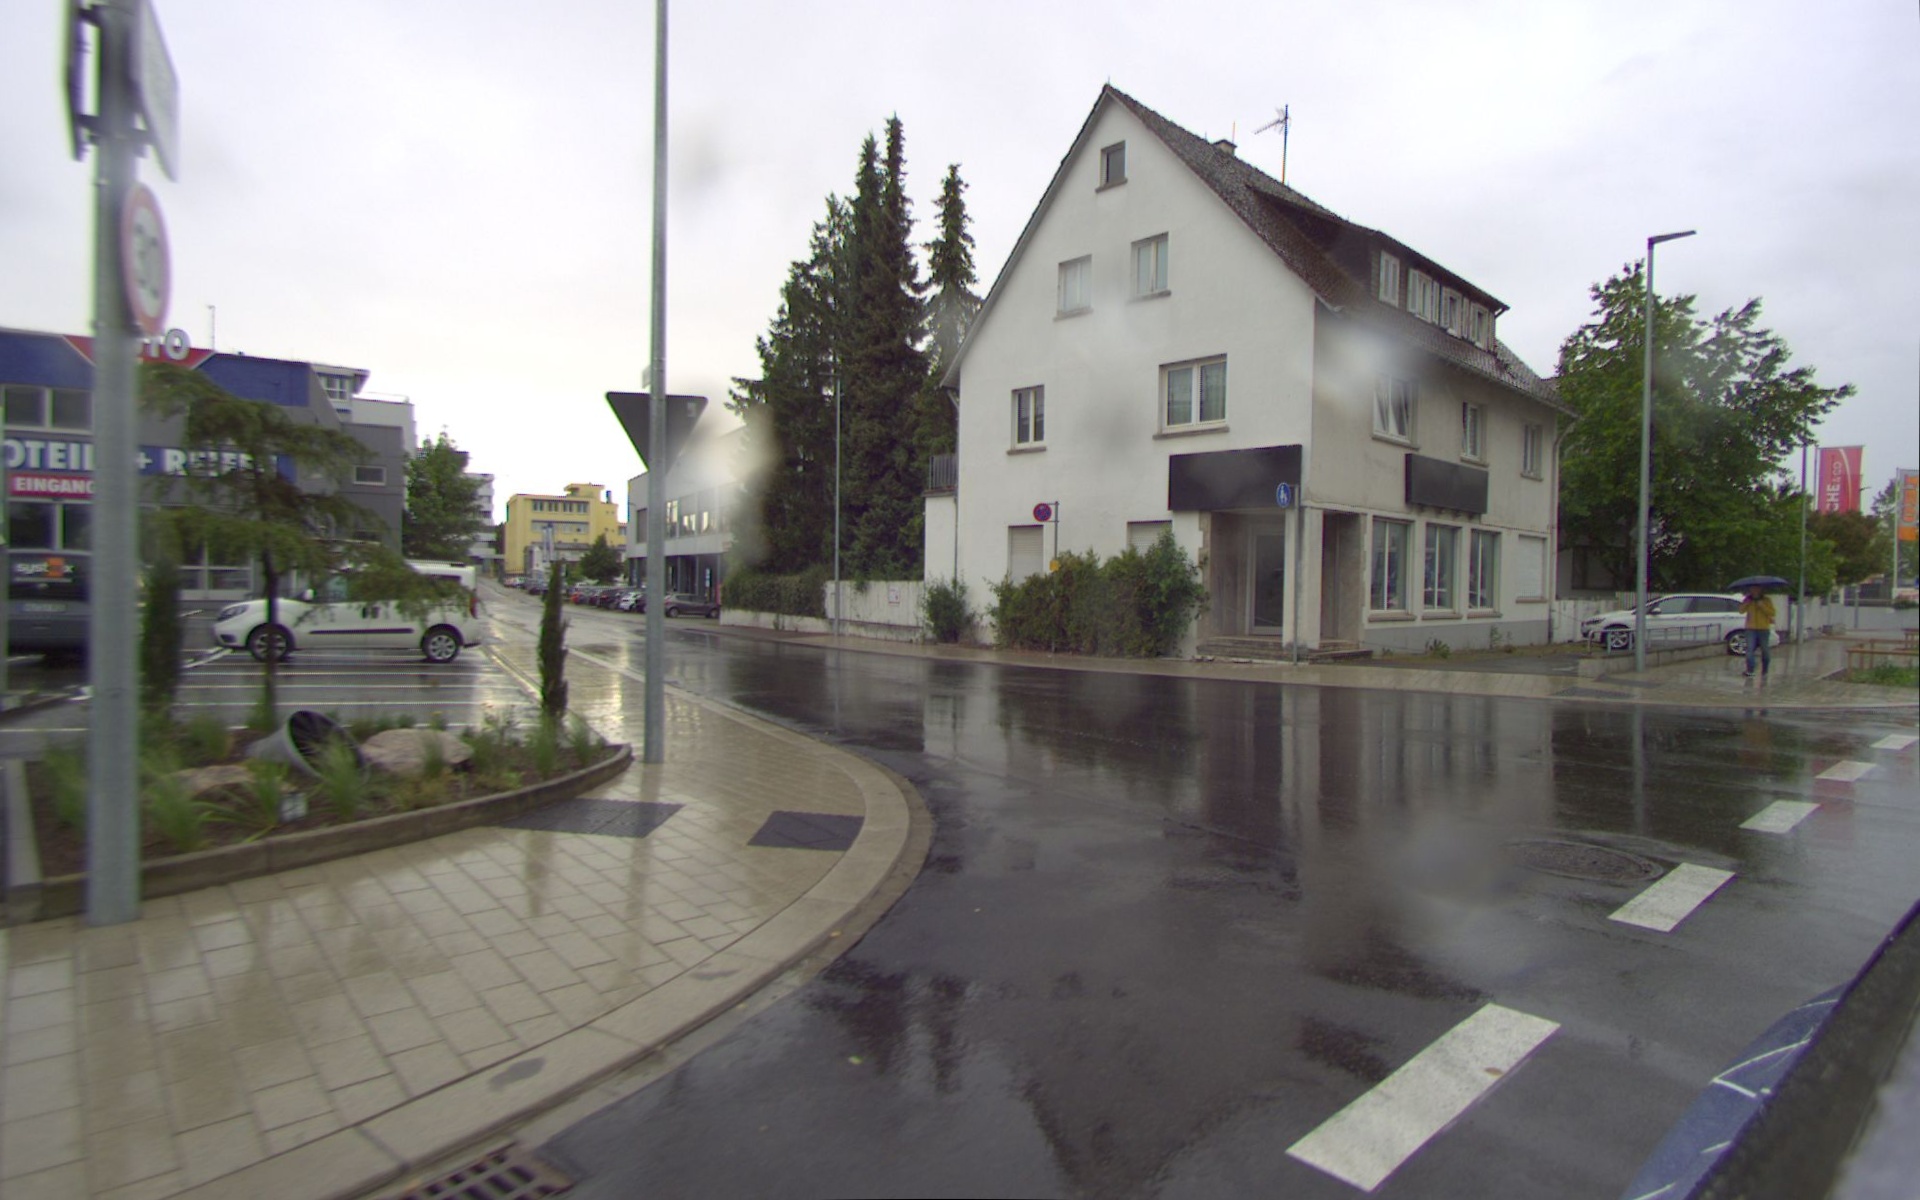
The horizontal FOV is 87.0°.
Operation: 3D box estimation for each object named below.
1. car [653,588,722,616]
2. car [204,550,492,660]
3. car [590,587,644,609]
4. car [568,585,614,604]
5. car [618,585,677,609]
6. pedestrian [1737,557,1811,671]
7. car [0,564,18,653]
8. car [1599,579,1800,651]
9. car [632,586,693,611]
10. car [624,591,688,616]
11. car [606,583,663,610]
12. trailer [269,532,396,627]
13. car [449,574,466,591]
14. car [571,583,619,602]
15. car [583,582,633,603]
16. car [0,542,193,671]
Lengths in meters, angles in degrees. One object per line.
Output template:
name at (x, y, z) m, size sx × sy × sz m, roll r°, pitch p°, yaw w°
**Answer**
car at (-16.328, 0.116, 60.594) m, size 3.689 × 1.466 × 1.614 m, roll -2°, pitch -1°, yaw -27°
car at (-11.349, 0.059, 19.006) m, size 4.402 × 1.851 × 1.895 m, roll 0°, pitch 2°, yaw -33°
car at (-26.170, -0.176, 77.263) m, size 3.689 × 1.466 × 1.614 m, roll -2°, pitch -1°, yaw -27°
car at (-33.437, -0.498, 91.732) m, size 3.689 × 1.466 × 1.614 m, roll -2°, pitch -1°, yaw -27°
car at (-21.923, -0.219, 70.934) m, size 3.689 × 1.466 × 1.614 m, roll -2°, pitch -1°, yaw -27°
pedestrian at (15.363, 0.243, 19.103) m, size 1.175 × 2.038 × 0.860 m, roll 0°, pitch 3°, yaw -44°
car at (-16.697, 0.190, 15.820) m, size 1.827 × 1.515 × 4.148 m, roll 1°, pitch 2°, yaw -27°
car at (19.402, 0.332, 26.797) m, size 4.115 × 1.600 × 1.976 m, roll 4°, pitch 2°, yaw 34°
car at (-20.133, -0.118, 68.585) m, size 3.689 × 1.466 × 1.614 m, roll -2°, pitch -1°, yaw -27°
car at (-19.583, 0.222, 65.291) m, size 3.689 × 1.466 × 1.614 m, roll -2°, pitch -1°, yaw -27°
car at (-23.370, -0.240, 72.672) m, size 3.689 × 1.775 × 1.614 m, roll -2°, pitch -1°, yaw -27°
trailer at (-20.680, -0.596, 33.697) m, size 2.875 × 2.770 × 5.897 m, roll -2°, pitch -1°, yaw -25°
car at (-69.643, -2.435, 140.259) m, size 1.960 × 2.039 × 4.004 m, roll -2°, pitch -1°, yaw -28°
car at (-31.375, -0.665, 87.018) m, size 3.689 × 1.466 × 1.614 m, roll -2°, pitch -1°, yaw -27°
car at (-28.864, -0.611, 82.946) m, size 3.689 × 1.466 × 1.614 m, roll -2°, pitch -1°, yaw -27°
car at (-14.465, 0.008, 16.847) m, size 1.854 × 1.851 × 4.499 m, roll 1°, pitch 2°, yaw -26°
